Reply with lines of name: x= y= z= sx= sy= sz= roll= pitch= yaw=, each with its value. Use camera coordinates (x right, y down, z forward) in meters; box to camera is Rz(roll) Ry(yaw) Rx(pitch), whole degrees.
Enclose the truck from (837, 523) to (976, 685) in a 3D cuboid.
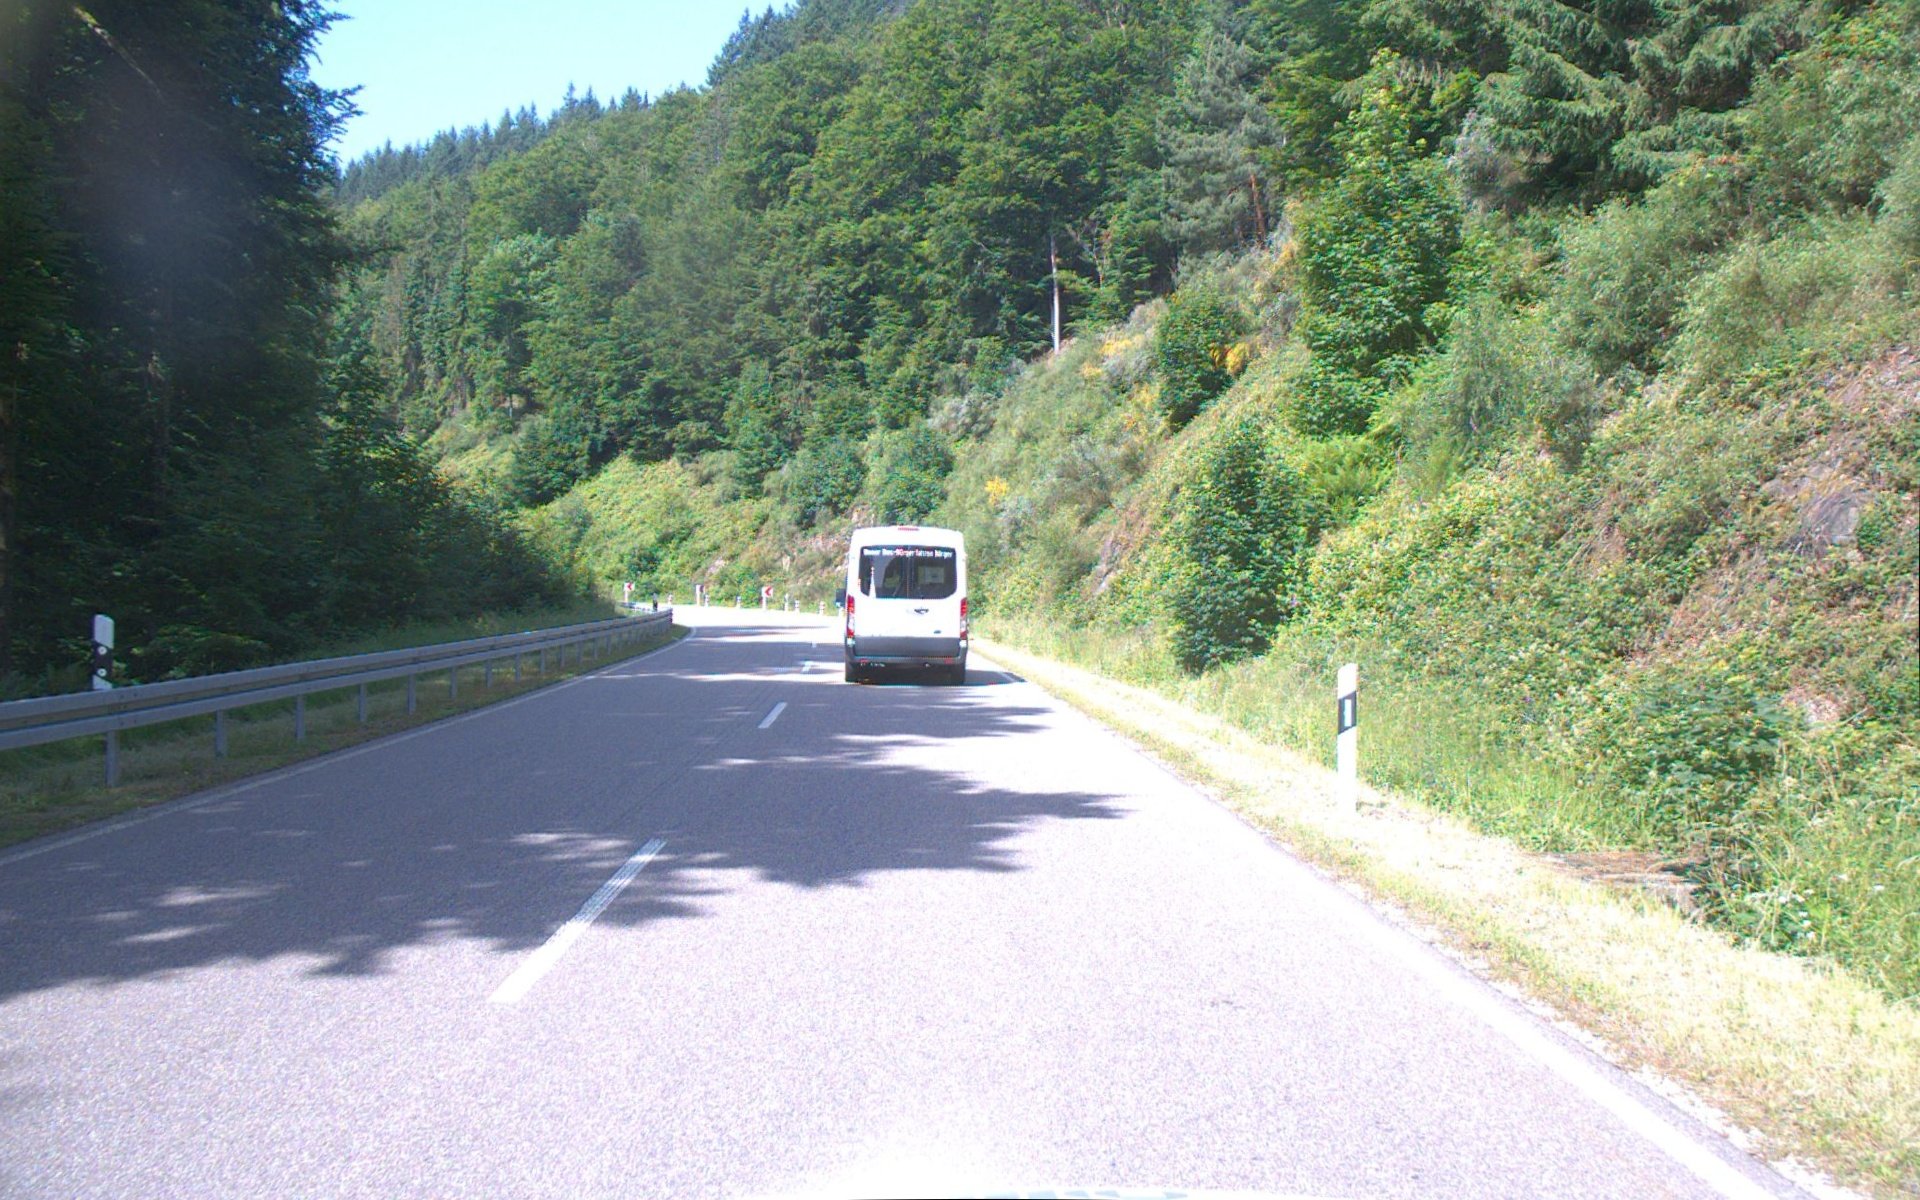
truck: x=-1.006 y=0.048 z=28.129 sx=2.043 sy=2.502 sz=4.869 roll=1 pitch=0 yaw=-6
